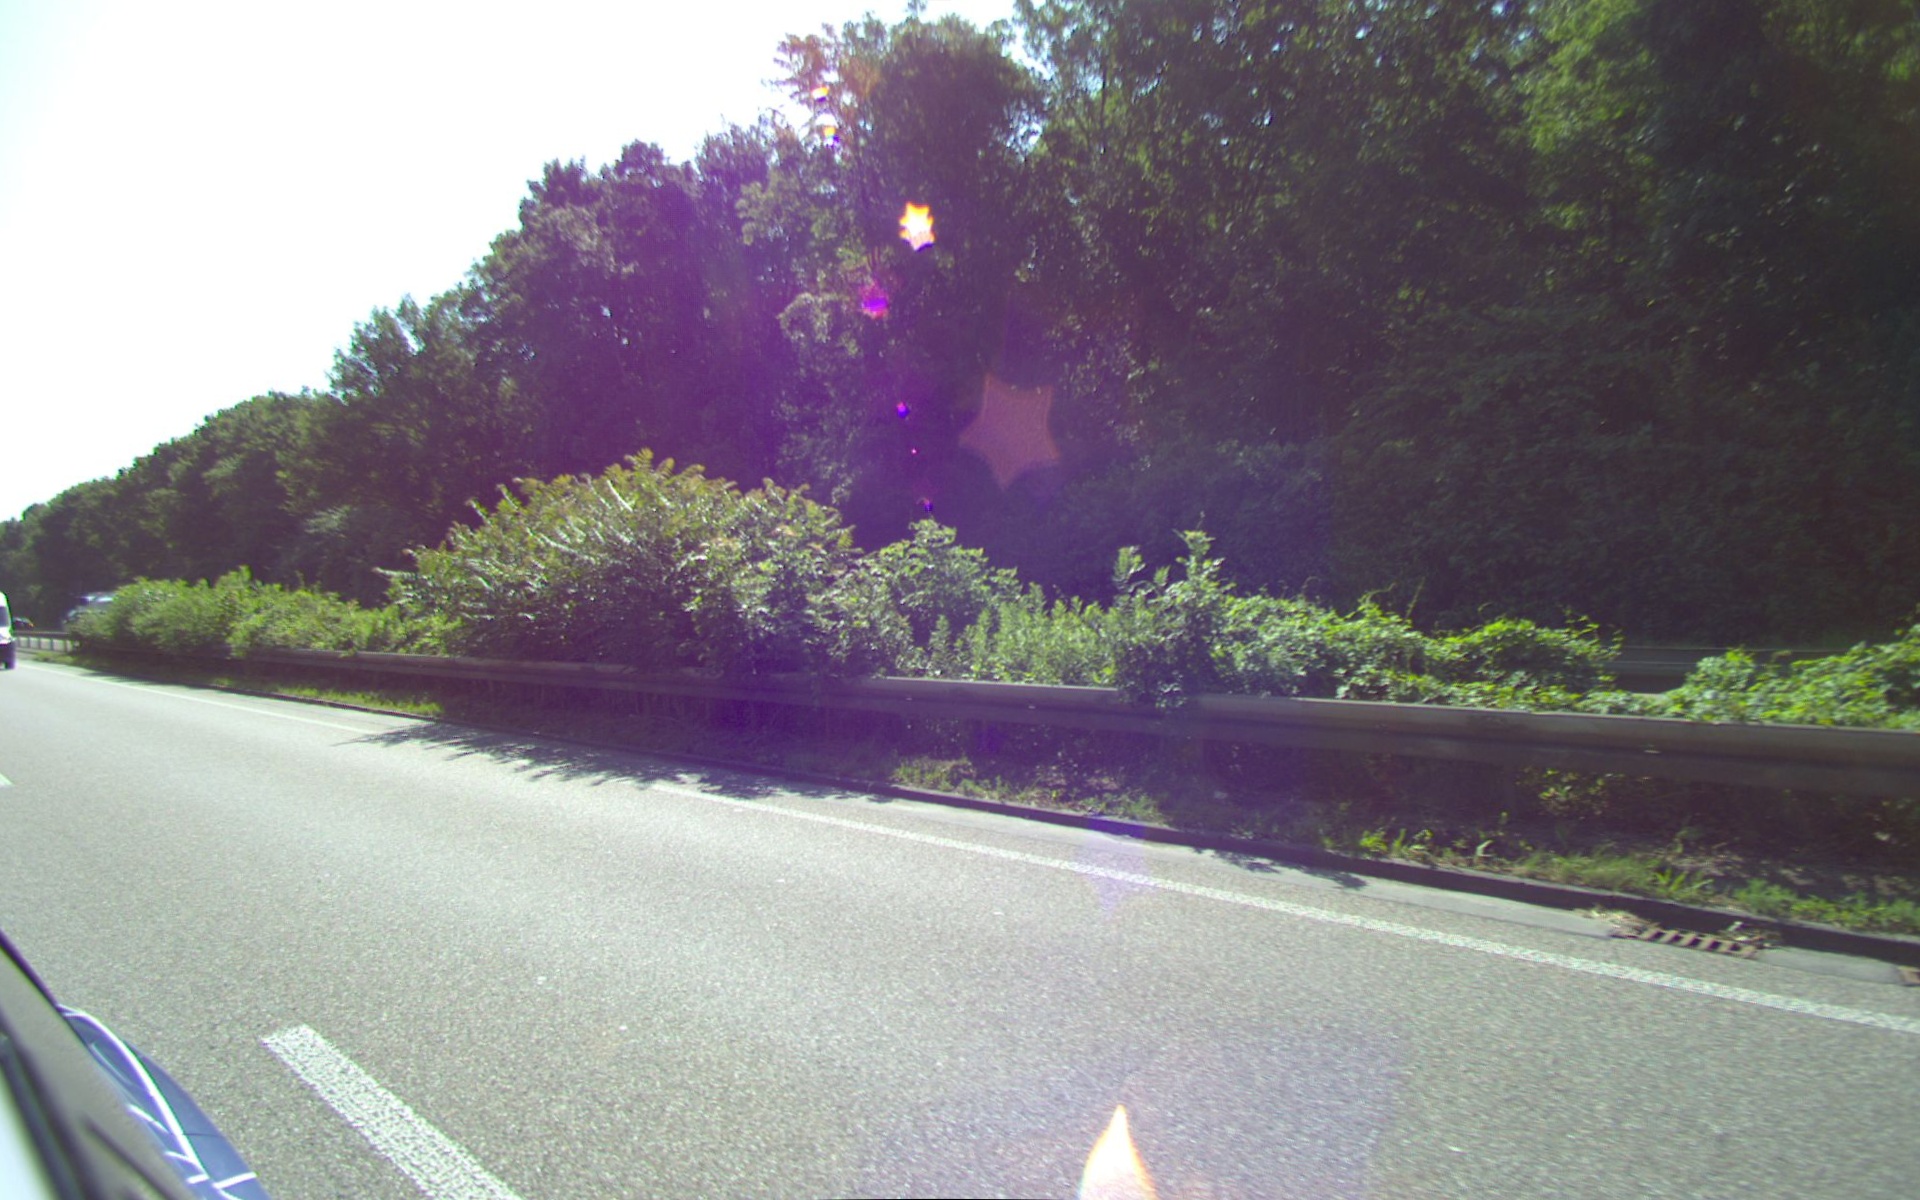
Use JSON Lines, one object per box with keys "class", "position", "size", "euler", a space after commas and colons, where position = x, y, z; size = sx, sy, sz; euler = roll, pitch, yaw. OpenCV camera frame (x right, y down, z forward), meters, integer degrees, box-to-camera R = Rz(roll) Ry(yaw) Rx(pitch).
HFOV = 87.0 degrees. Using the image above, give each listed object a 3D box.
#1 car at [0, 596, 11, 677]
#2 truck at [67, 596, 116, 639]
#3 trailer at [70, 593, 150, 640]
{"class": "car", "position": [-31.577, 1.178, 31.854], "size": [4.635, 2.462, 2.020], "euler": [-2, -1, 41]}
{"class": "truck", "position": [-68.922, 1.402, 80.264], "size": [3.998, 3.283, 2.400], "euler": [-2, -1, 41]}
{"class": "trailer", "position": [-63.438, 1.279, 75.361], "size": [14.426, 3.260, 2.466], "euler": [-1, -1, 42]}
